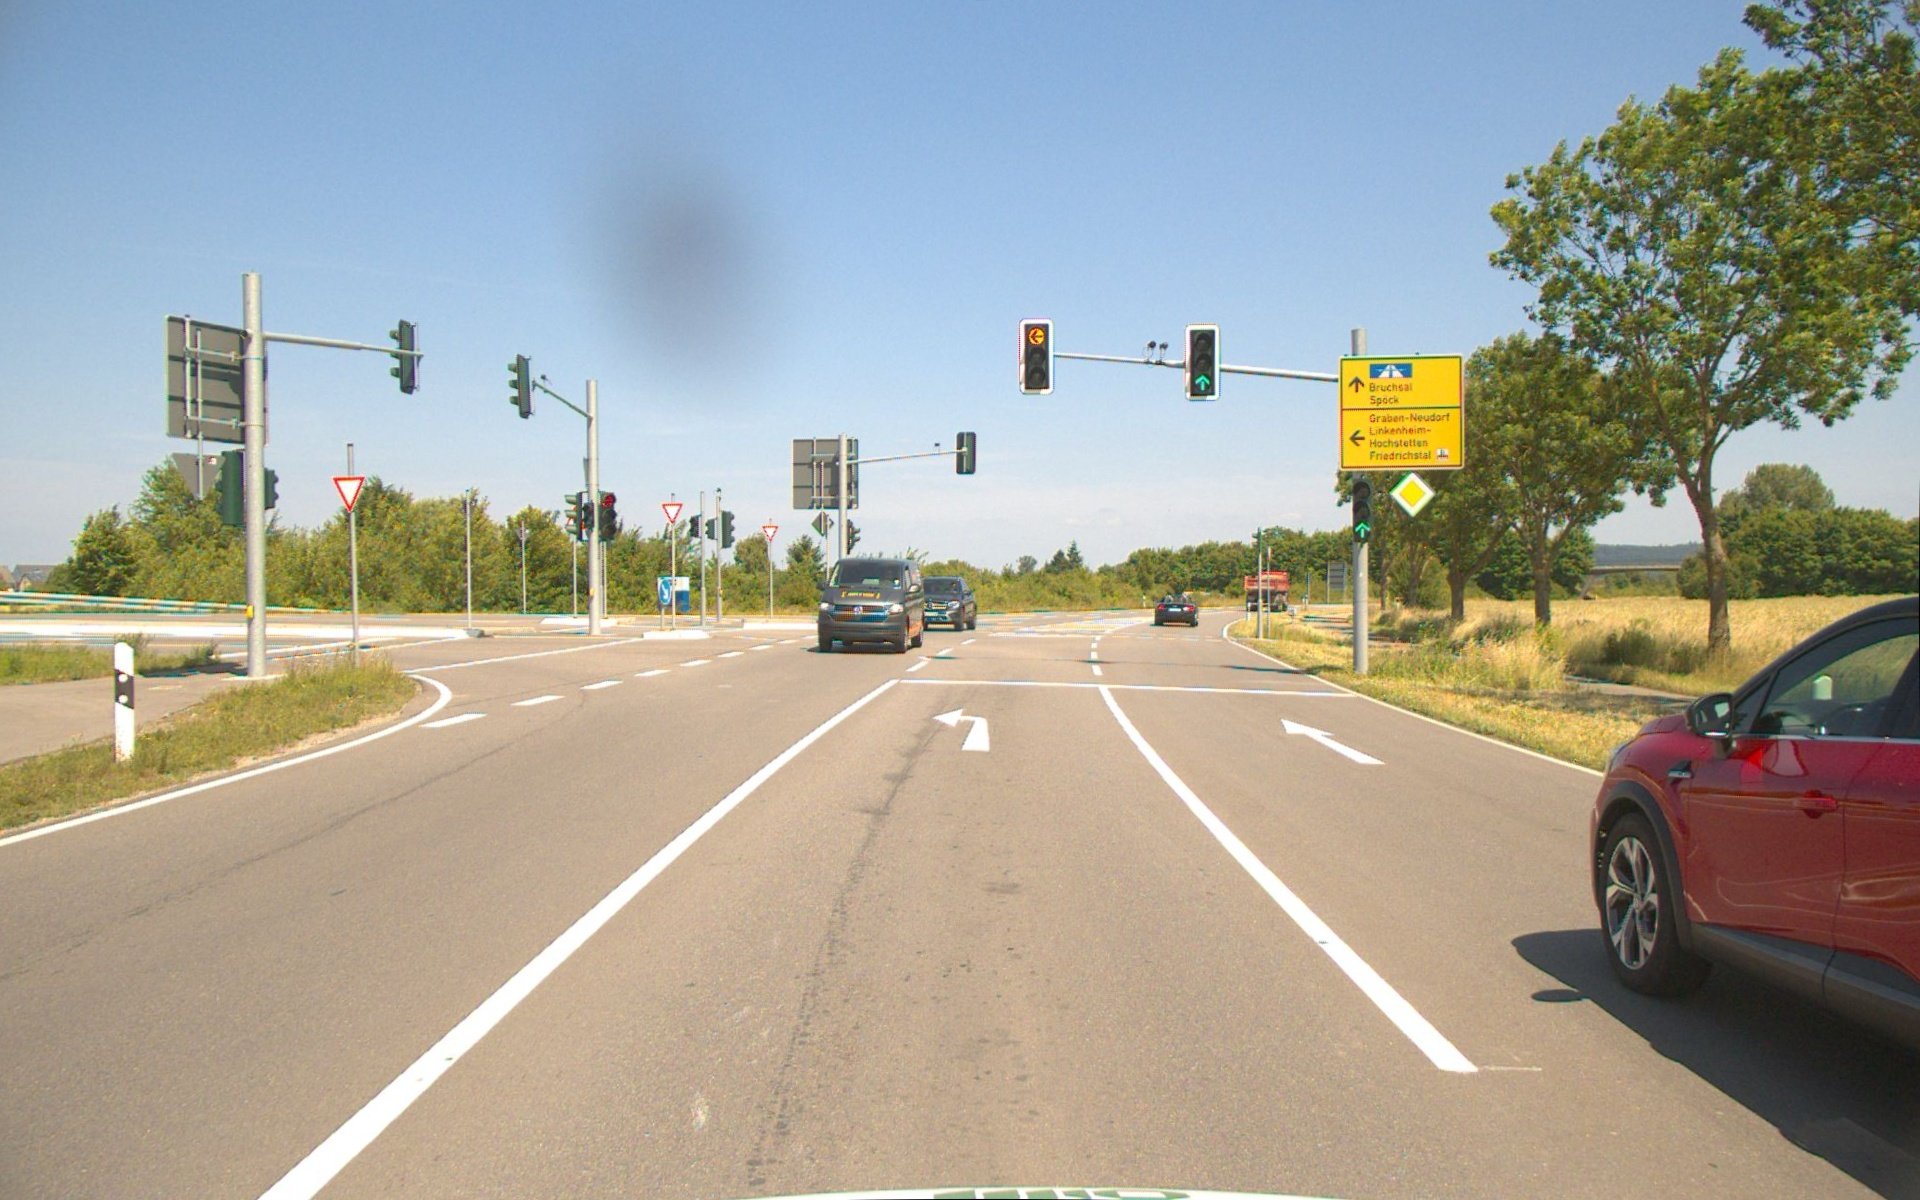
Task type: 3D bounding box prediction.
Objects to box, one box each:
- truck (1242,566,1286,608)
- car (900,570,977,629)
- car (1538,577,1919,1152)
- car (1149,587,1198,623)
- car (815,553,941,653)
[{"bbox_3d":[23.557,-0.979,127.943,2.656,3.106,8.170,0,-1,15],"label":"truck"},{"bbox_3d":[-0.638,-0.058,52.492,1.890,1.770,4.892,1,1,6],"label":"car"},{"bbox_3d":[3.527,0.734,5.242,1.785,1.579,4.448,1,0,-1],"label":"car"},{"bbox_3d":[9.034,0.221,69.753,1.710,1.400,3.682,1,-1,12],"label":"car"},{"bbox_3d":[-1.697,0.024,35.961,1.889,2.012,4.688,1,1,8],"label":"car"}]
